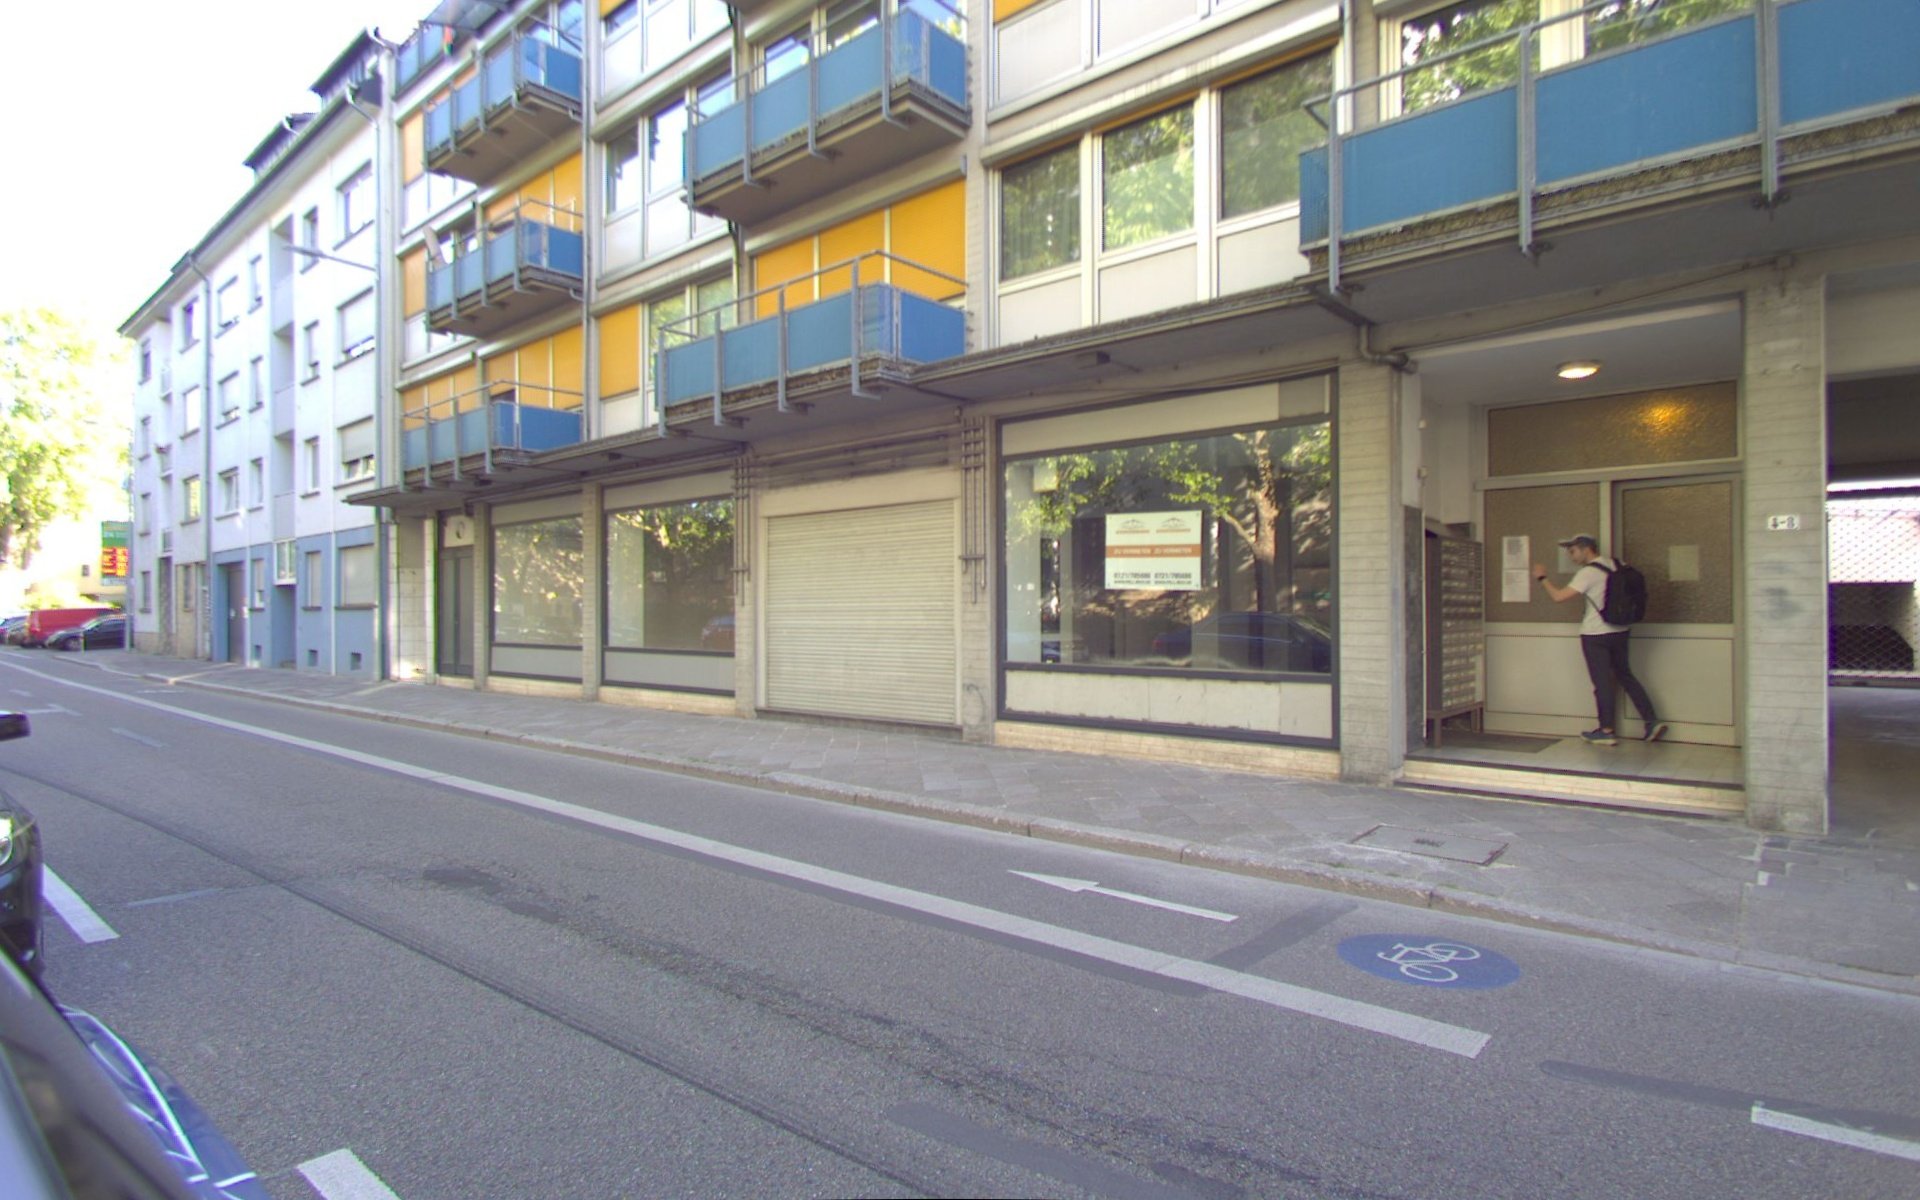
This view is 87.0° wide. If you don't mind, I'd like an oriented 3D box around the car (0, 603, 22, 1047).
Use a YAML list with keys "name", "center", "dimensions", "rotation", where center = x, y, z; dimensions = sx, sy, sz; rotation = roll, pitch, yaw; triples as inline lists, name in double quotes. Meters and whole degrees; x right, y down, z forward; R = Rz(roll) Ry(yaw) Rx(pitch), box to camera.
- name: "car"
  center: [-5.529, 0.809, 4.283]
  dimensions: [4.479, 1.512, 1.842]
  rotation: [-1, -1, 41]

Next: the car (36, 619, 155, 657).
- name: "car"
  center: [-39.762, 1.728, 46.610]
  dimensions: [2.000, 1.564, 3.944]
  rotation: [-1, 0, 42]

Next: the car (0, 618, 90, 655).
- name: "car"
  center: [-51.575, 2.015, 56.834]
  dimensions: [2.000, 1.962, 3.944]
  rotation: [-1, 0, 42]

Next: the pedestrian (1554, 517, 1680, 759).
- name: "pedestrian"
  center: [5.454, 0.296, 8.405]
  dimensions: [0.786, 1.894, 0.573]
  rotation: [-1, 0, 42]

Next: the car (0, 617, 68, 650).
- name: "car"
  center: [-59.212, 2.114, 64.021]
  dimensions: [2.000, 1.962, 3.944]
  rotation: [-1, 0, 42]

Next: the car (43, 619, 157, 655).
- name: "car"
  center: [-41.180, 1.747, 48.531]
  dimensions: [2.000, 1.564, 3.944]
  rotation: [-1, 0, 42]

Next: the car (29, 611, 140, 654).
- name: "car"
  center: [-43.435, 1.577, 50.256]
  dimensions: [2.000, 1.962, 3.944]
  rotation: [-1, 0, 42]

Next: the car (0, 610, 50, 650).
- name: "car"
  center: [-62.804, 1.961, 66.790]
  dimensions: [2.000, 2.538, 3.944]
  rotation: [-1, 0, 42]

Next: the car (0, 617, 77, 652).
- name: "car"
  center: [-55.607, 2.067, 60.570]
  dimensions: [2.000, 1.962, 3.944]
  rotation: [-1, 0, 42]

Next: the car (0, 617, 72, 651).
- name: "car"
  center: [-57.412, 2.090, 62.287]
  dimensions: [2.000, 1.962, 3.944]
  rotation: [-1, 0, 42]

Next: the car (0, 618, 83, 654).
- name: "car"
  center: [-53.526, 2.040, 58.617]
  dimensions: [2.000, 1.962, 3.944]
  rotation: [-1, 0, 42]
